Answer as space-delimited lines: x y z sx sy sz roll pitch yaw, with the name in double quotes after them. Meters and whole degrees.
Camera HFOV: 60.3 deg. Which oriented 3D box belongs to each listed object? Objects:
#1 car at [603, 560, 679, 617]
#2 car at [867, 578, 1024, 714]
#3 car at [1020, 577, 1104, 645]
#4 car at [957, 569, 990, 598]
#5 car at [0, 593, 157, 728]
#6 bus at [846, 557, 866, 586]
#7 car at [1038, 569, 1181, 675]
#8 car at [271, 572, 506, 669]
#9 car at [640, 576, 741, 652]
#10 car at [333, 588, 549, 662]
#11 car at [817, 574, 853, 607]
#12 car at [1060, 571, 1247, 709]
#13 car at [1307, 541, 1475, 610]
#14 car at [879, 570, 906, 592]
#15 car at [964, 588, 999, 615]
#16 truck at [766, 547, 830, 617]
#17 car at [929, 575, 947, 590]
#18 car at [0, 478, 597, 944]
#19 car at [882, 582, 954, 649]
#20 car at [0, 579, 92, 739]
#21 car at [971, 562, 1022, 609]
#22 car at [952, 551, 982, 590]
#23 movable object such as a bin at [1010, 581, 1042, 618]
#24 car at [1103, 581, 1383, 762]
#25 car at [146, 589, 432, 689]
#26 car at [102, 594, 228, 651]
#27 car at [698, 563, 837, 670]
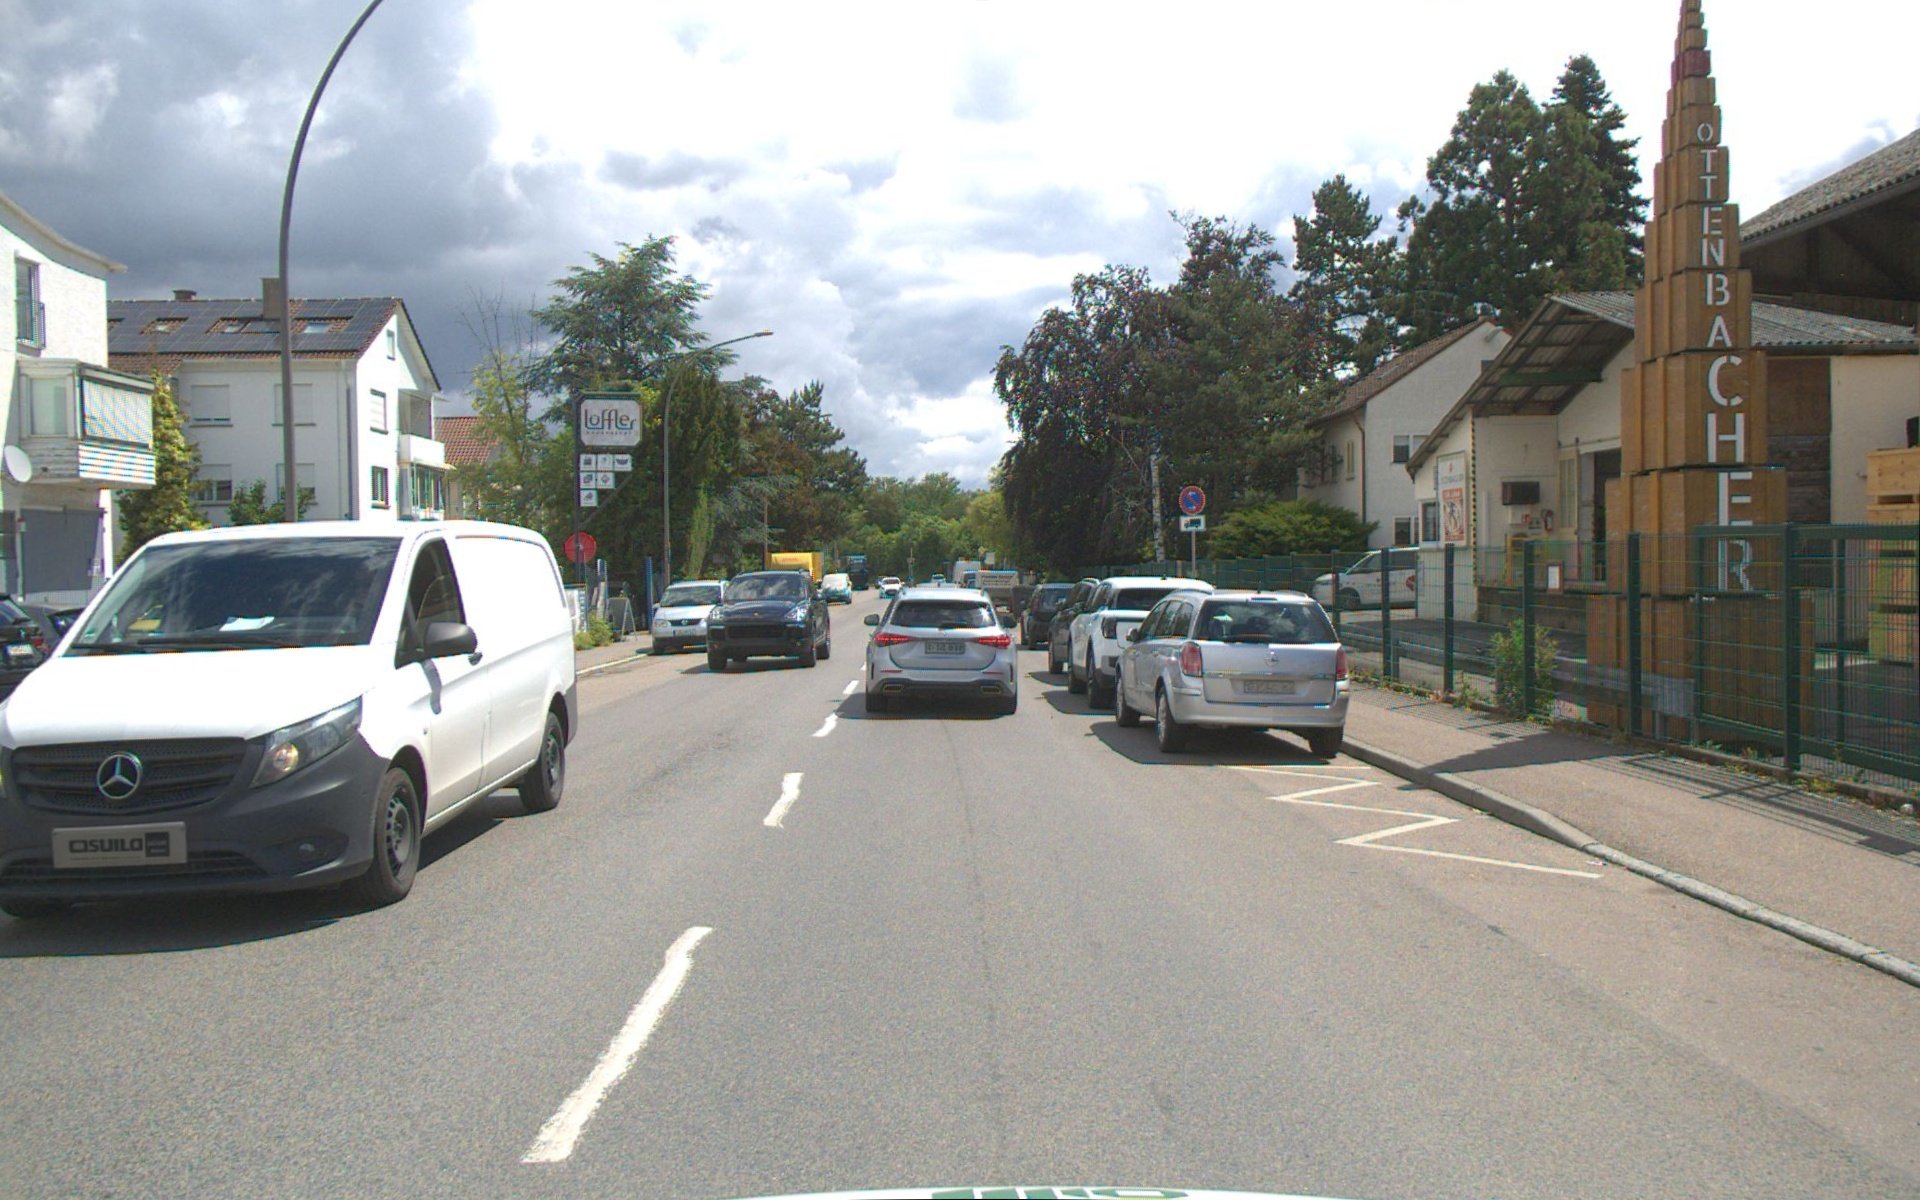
-10.150 -0.394 52.897 1.955 1.686 3.996 -2 1 -5 "car"
-0.267 0.509 20.561 1.749 1.510 4.314 0 0 -3 "car"
2.338 0.229 38.686 1.655 1.476 3.848 -1 1 -1 "car"
0.787 -0.983 100.313 1.749 1.745 4.314 0 0 -3 "car"
-12.782 0.840 20.777 4.375 1.531 1.824 -4 1 -5 "car"
-12.535 -3.435 199.321 1.955 3.423 6.973 1 1 -6 "bus"
2.404 0.315 27.521 1.656 1.579 4.082 -1 1 -5 "car"
-11.824 0.447 34.420 4.193 1.868 1.990 -1 -3 -3 "car"
-6.388 0.286 39.613 1.755 1.631 4.362 -2 1 -1 "car"
-11.501 0.575 36.846 4.193 1.511 1.990 -1 -3 -3 "car"
-7.647 -0.595 101.272 1.895 1.952 4.362 -2 1 -1 "car"
2.437 0.435 21.881 1.756 1.579 4.572 -2 1 -2 "car"
13.922 -0.792 53.636 4.913 1.962 2.001 -3 1 2 "car"
-4.997 -1.408 122.949 1.895 1.518 4.362 -2 1 -1 "car"
1.221 0.059 95.154 1.749 1.510 4.314 0 0 -3 "car"
-6.992 -0.809 72.068 2.032 2.863 7.078 -2 1 0 "truck"
-2.340 -1.857 175.126 1.721 1.585 3.996 -1 1 -5 "car"
-3.577 0.426 9.514 1.953 1.921 5.115 -1 1 -2 "car"
-1.111 0.351 42.203 1.721 1.585 3.998 -1 1 -3 "car"
-12.346 0.764 17.983 4.537 1.661 2.196 -4 1 -5 "car"
1.621 -0.677 75.066 2.100 2.018 5.260 -1 1 -1 "car"
0.465 -2.009 112.705 1.749 2.562 4.314 0 0 -3 "car"
2.379 -0.025 59.721 1.062 1.293 1.380 1 1 -1 "movable object such as a bin"
2.632 0.587 16.428 1.756 1.475 4.360 -2 1 -3 "car"
-11.692 0.707 29.050 4.192 1.594 1.990 -1 -3 -1 "car"
-24.716 0.671 51.593 1.954 1.571 4.374 -2 1 -3 "car"
-3.466 0.248 30.598 1.953 1.763 4.548 -2 1 0 "car"
